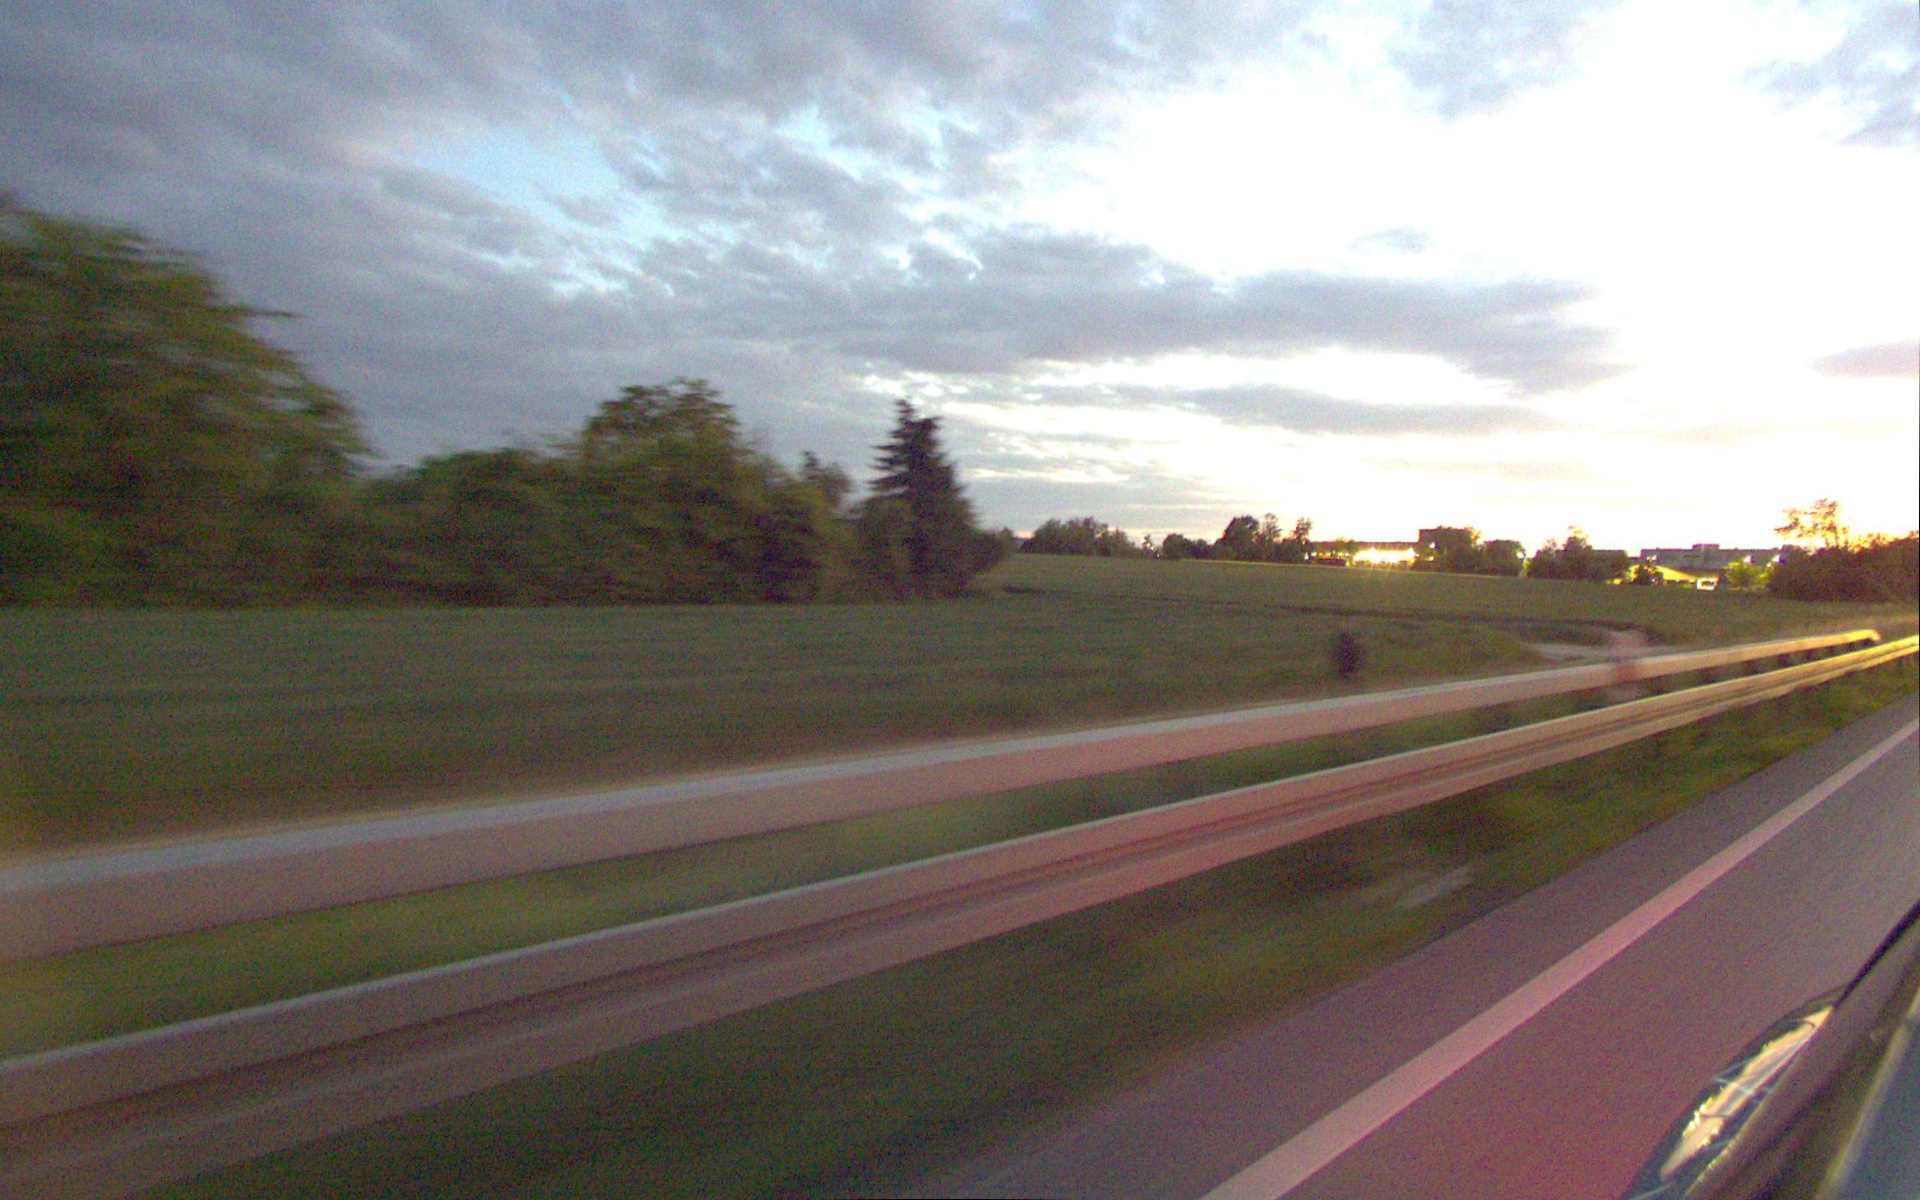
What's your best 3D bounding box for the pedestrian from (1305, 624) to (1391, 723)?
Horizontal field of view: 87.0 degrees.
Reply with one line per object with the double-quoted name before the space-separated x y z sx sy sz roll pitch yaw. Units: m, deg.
"pedestrian" 7.012 1.292 18.278 1.099 1.663 1.064 0 0 -41
